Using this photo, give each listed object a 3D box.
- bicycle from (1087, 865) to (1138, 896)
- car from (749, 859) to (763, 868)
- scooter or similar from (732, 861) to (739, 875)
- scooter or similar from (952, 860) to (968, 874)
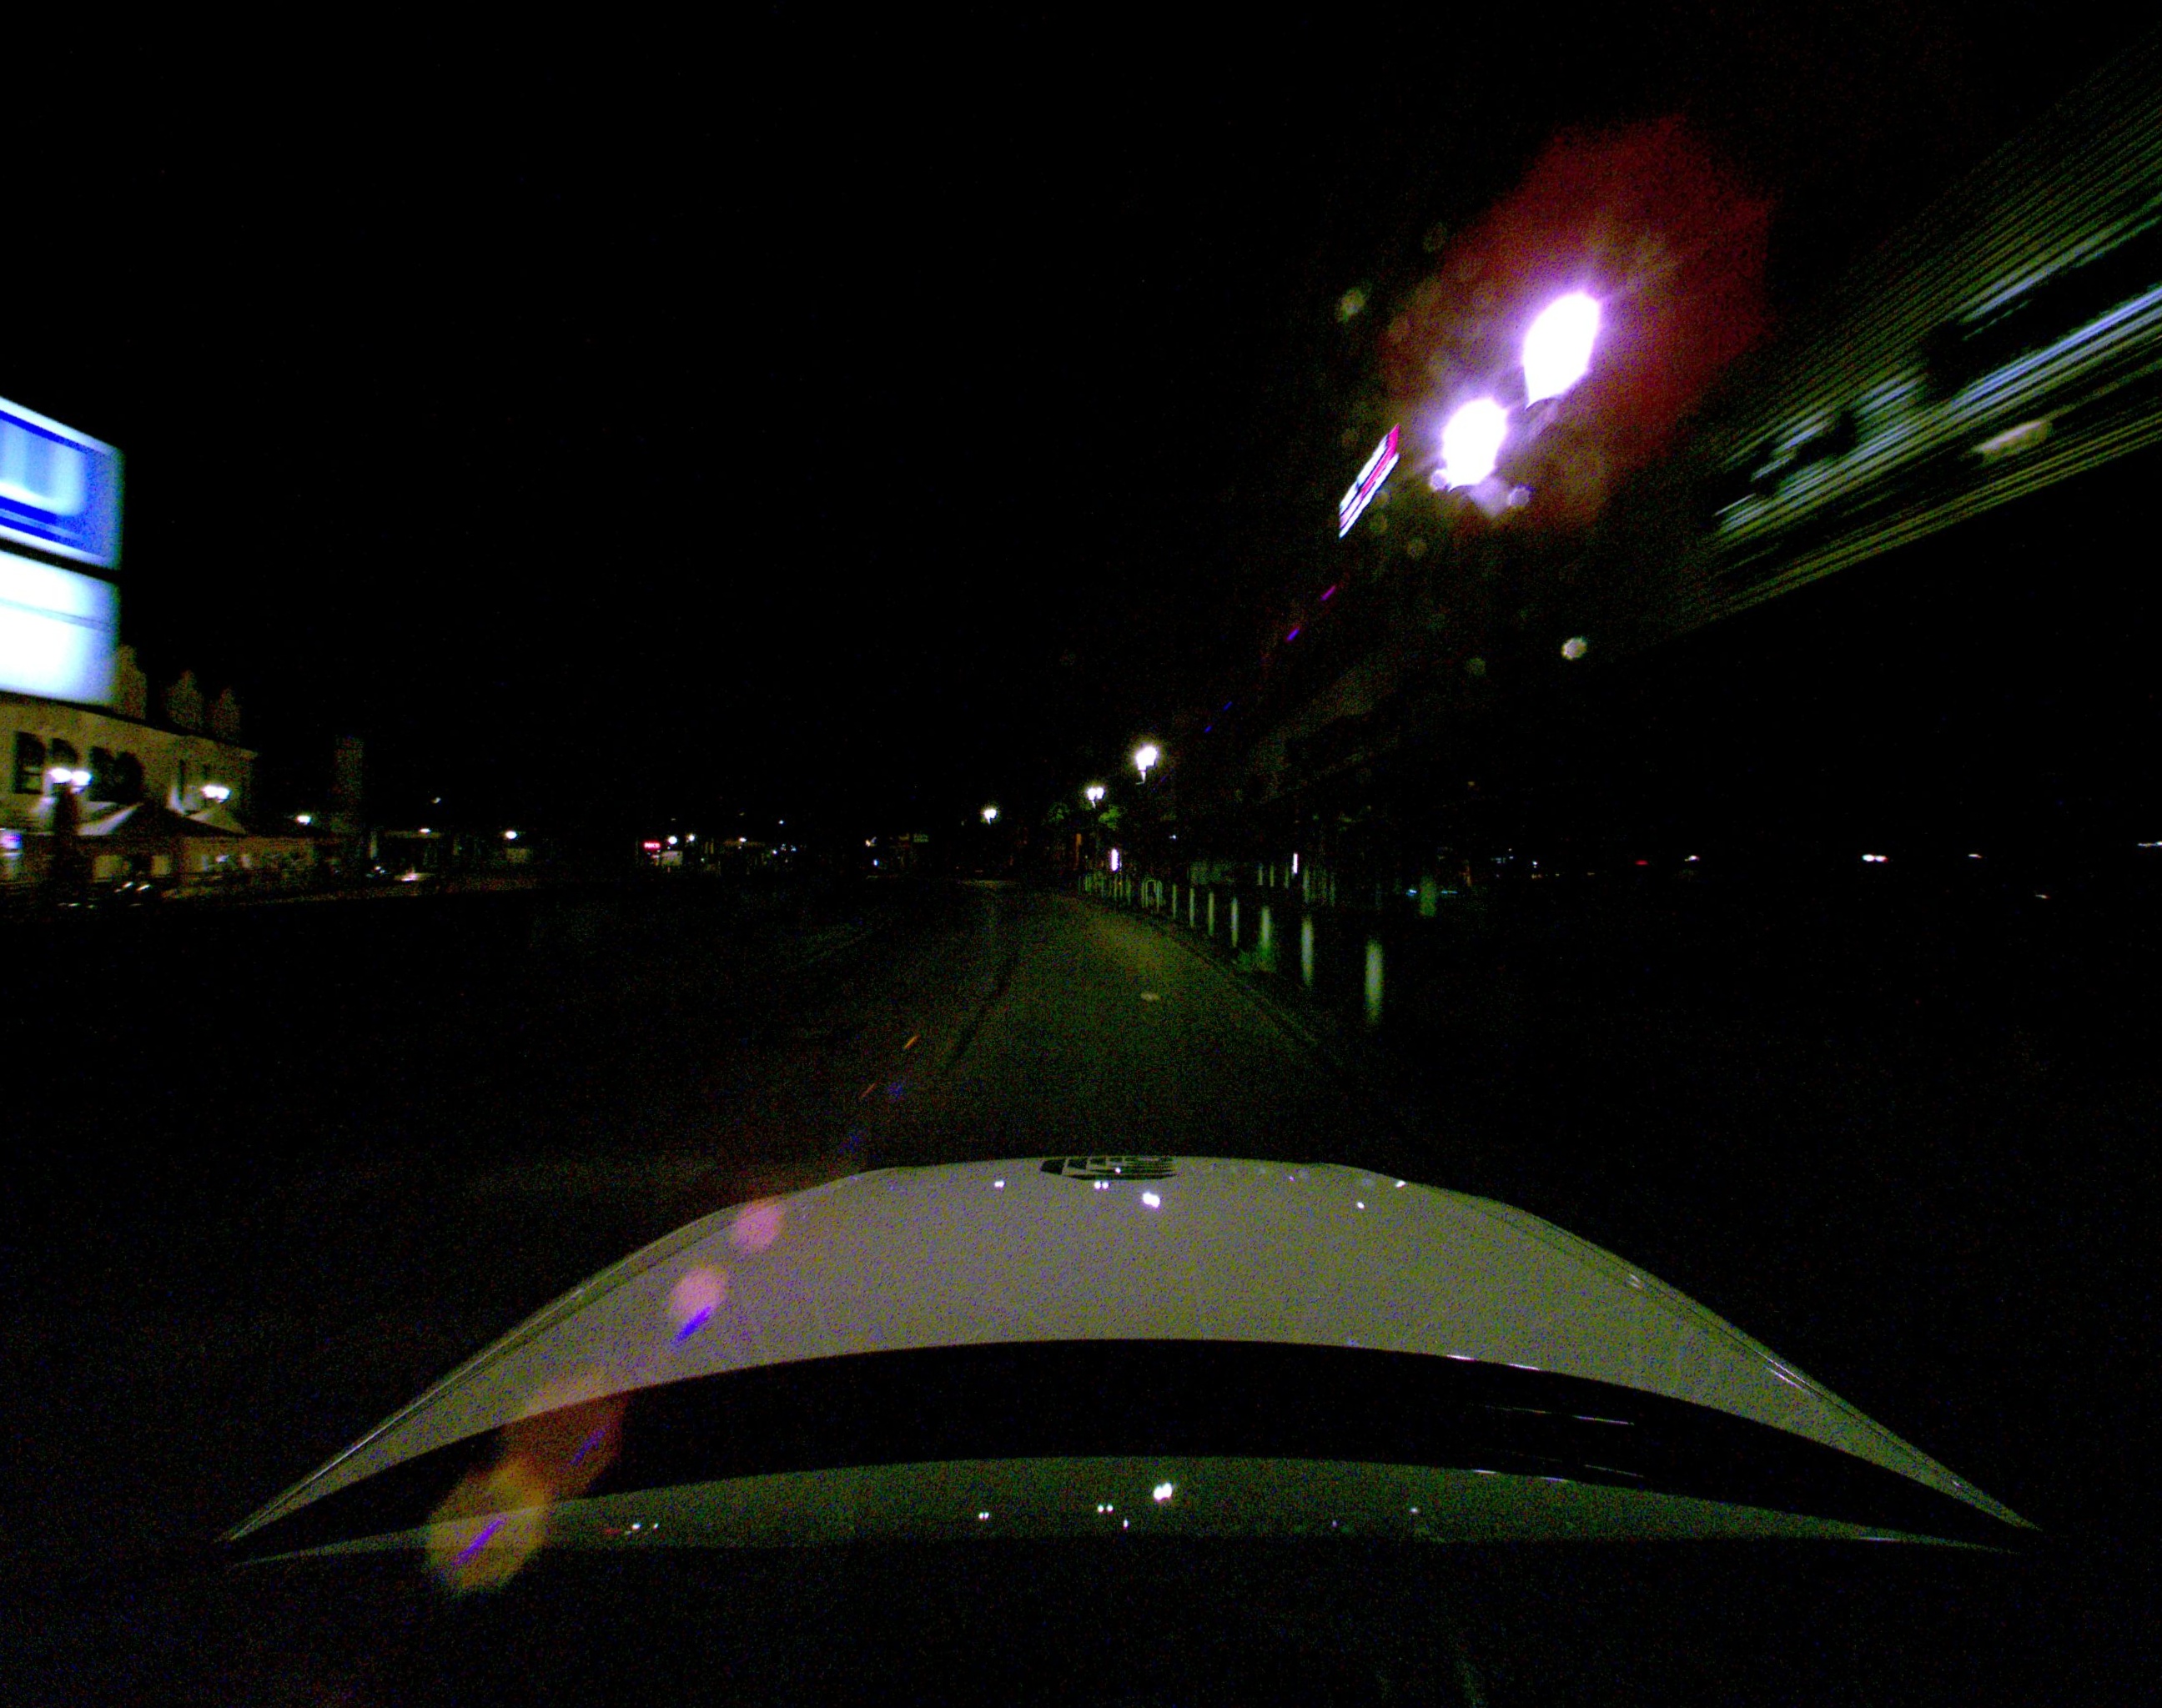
[{"bbox_3d":[1.144,0.953,29.563,1.756,1.062,0.651,1,0,-23],"label":"bicycle"},{"bbox_3d":[-57.083,1.659,143.043,1.721,1.547,3.503,-1,1,-32],"label":"car"},{"bbox_3d":[-31.344,1.280,73.826,0.433,1.284,1.135,-1,1,-32],"label":"scooter or similar"},{"bbox_3d":[-10.757,1.150,72.647,1.252,1.227,0.593,2,0,-25],"label":"scooter or similar"}]
